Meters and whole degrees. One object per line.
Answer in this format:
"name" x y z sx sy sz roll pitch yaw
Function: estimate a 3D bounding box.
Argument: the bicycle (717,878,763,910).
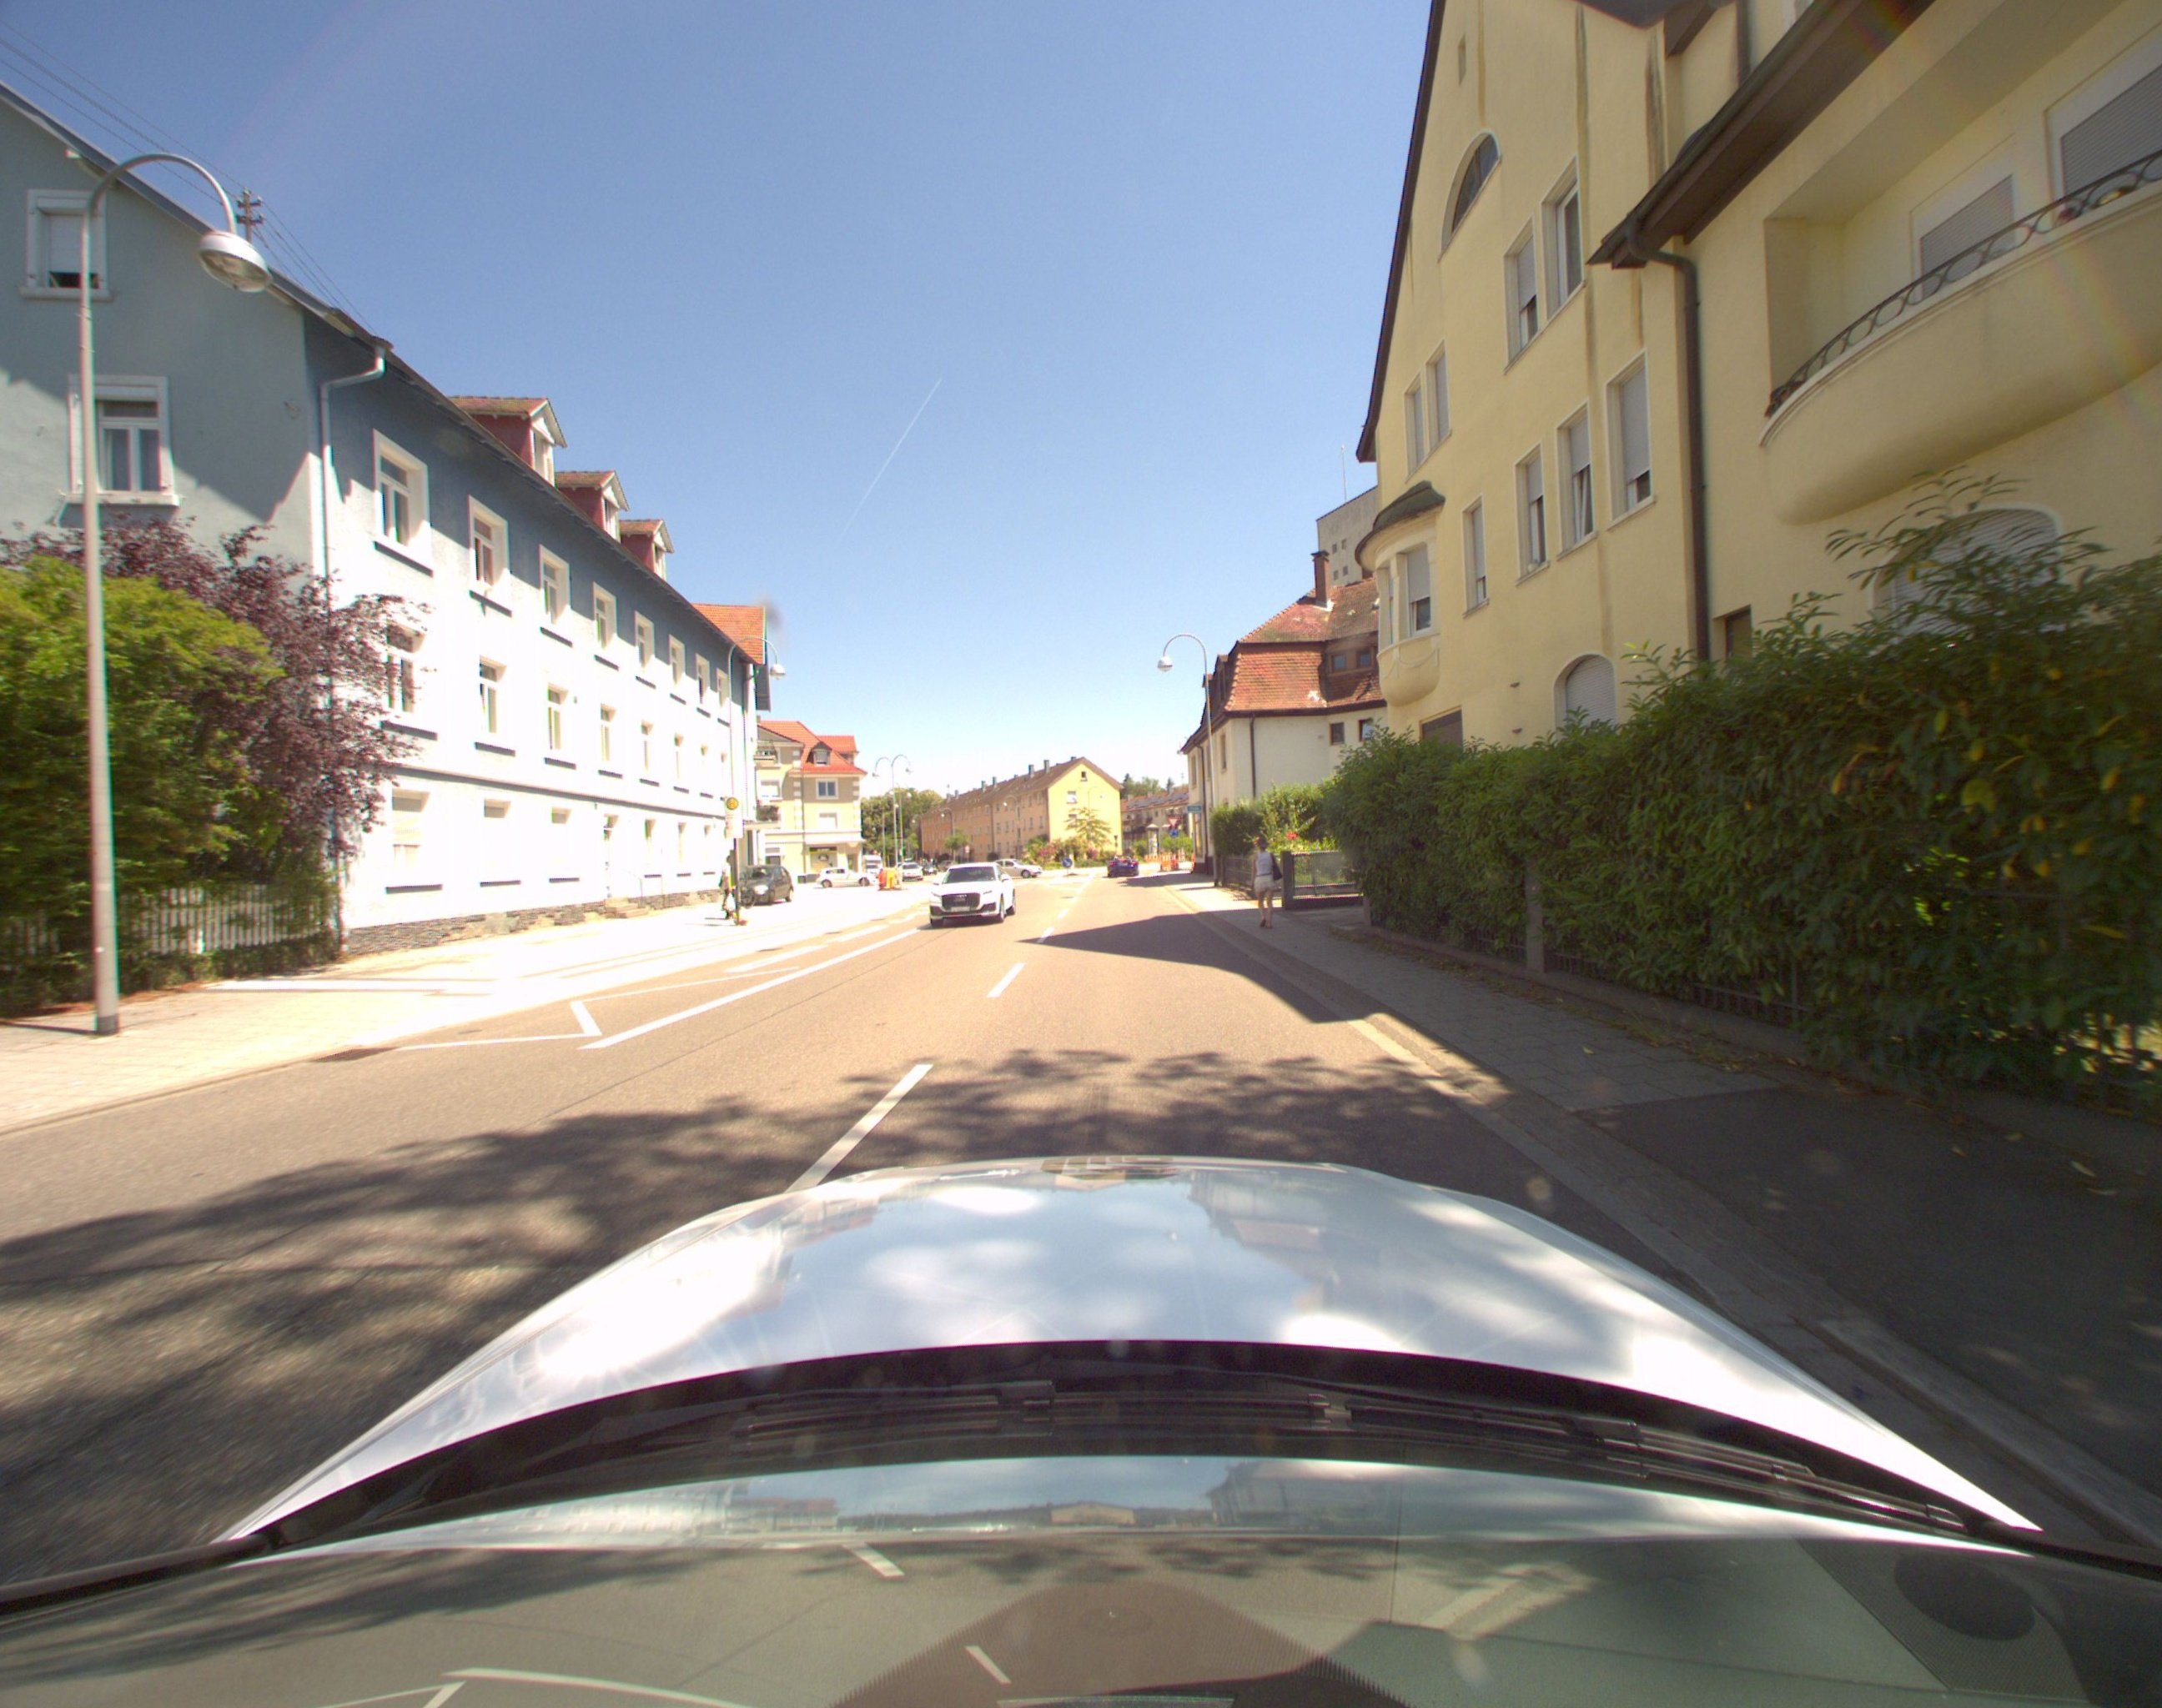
"bicycle" -11.470 1.332 27.449 0.493 0.977 1.976 2 -1 6

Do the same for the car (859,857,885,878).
"car" -26.243 1.686 102.135 2.154 2.533 6.188 0 -1 -24

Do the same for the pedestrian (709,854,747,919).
"pedestrian" -10.142 0.923 23.449 0.755 1.848 0.770 1 -1 -6

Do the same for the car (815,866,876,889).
"car" -17.183 1.690 59.510 4.116 1.551 1.781 -1 -1 -11

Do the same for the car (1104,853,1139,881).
"car" 2.431 0.827 49.999 1.865 1.530 4.505 -2 -2 0

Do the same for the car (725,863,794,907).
"car" -12.318 1.204 31.395 1.577 1.534 3.764 -2 -2 -8

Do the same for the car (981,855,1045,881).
"car" -4.765 1.018 57.336 4.084 1.747 1.795 -1 -1 15

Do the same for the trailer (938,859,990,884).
"trailer" -8.349 1.218 58.249 3.163 1.717 1.764 -1 -1 16

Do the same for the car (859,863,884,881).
"car" -20.713 1.781 80.467 1.782 1.686 4.660 -2 -1 -22

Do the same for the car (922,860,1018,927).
"car" -2.794 1.001 21.247 1.814 1.530 3.951 -2 -2 1

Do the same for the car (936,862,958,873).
"car" -18.242 1.880 110.893 1.822 1.500 3.964 0 -1 -27

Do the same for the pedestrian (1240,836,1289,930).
"pedestrian" 3.372 0.526 15.003 0.621 1.644 0.771 -3 -1 -2

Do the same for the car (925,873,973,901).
"car" -10.609 2.656 65.773 1.823 1.529 4.416 -7 2 19
